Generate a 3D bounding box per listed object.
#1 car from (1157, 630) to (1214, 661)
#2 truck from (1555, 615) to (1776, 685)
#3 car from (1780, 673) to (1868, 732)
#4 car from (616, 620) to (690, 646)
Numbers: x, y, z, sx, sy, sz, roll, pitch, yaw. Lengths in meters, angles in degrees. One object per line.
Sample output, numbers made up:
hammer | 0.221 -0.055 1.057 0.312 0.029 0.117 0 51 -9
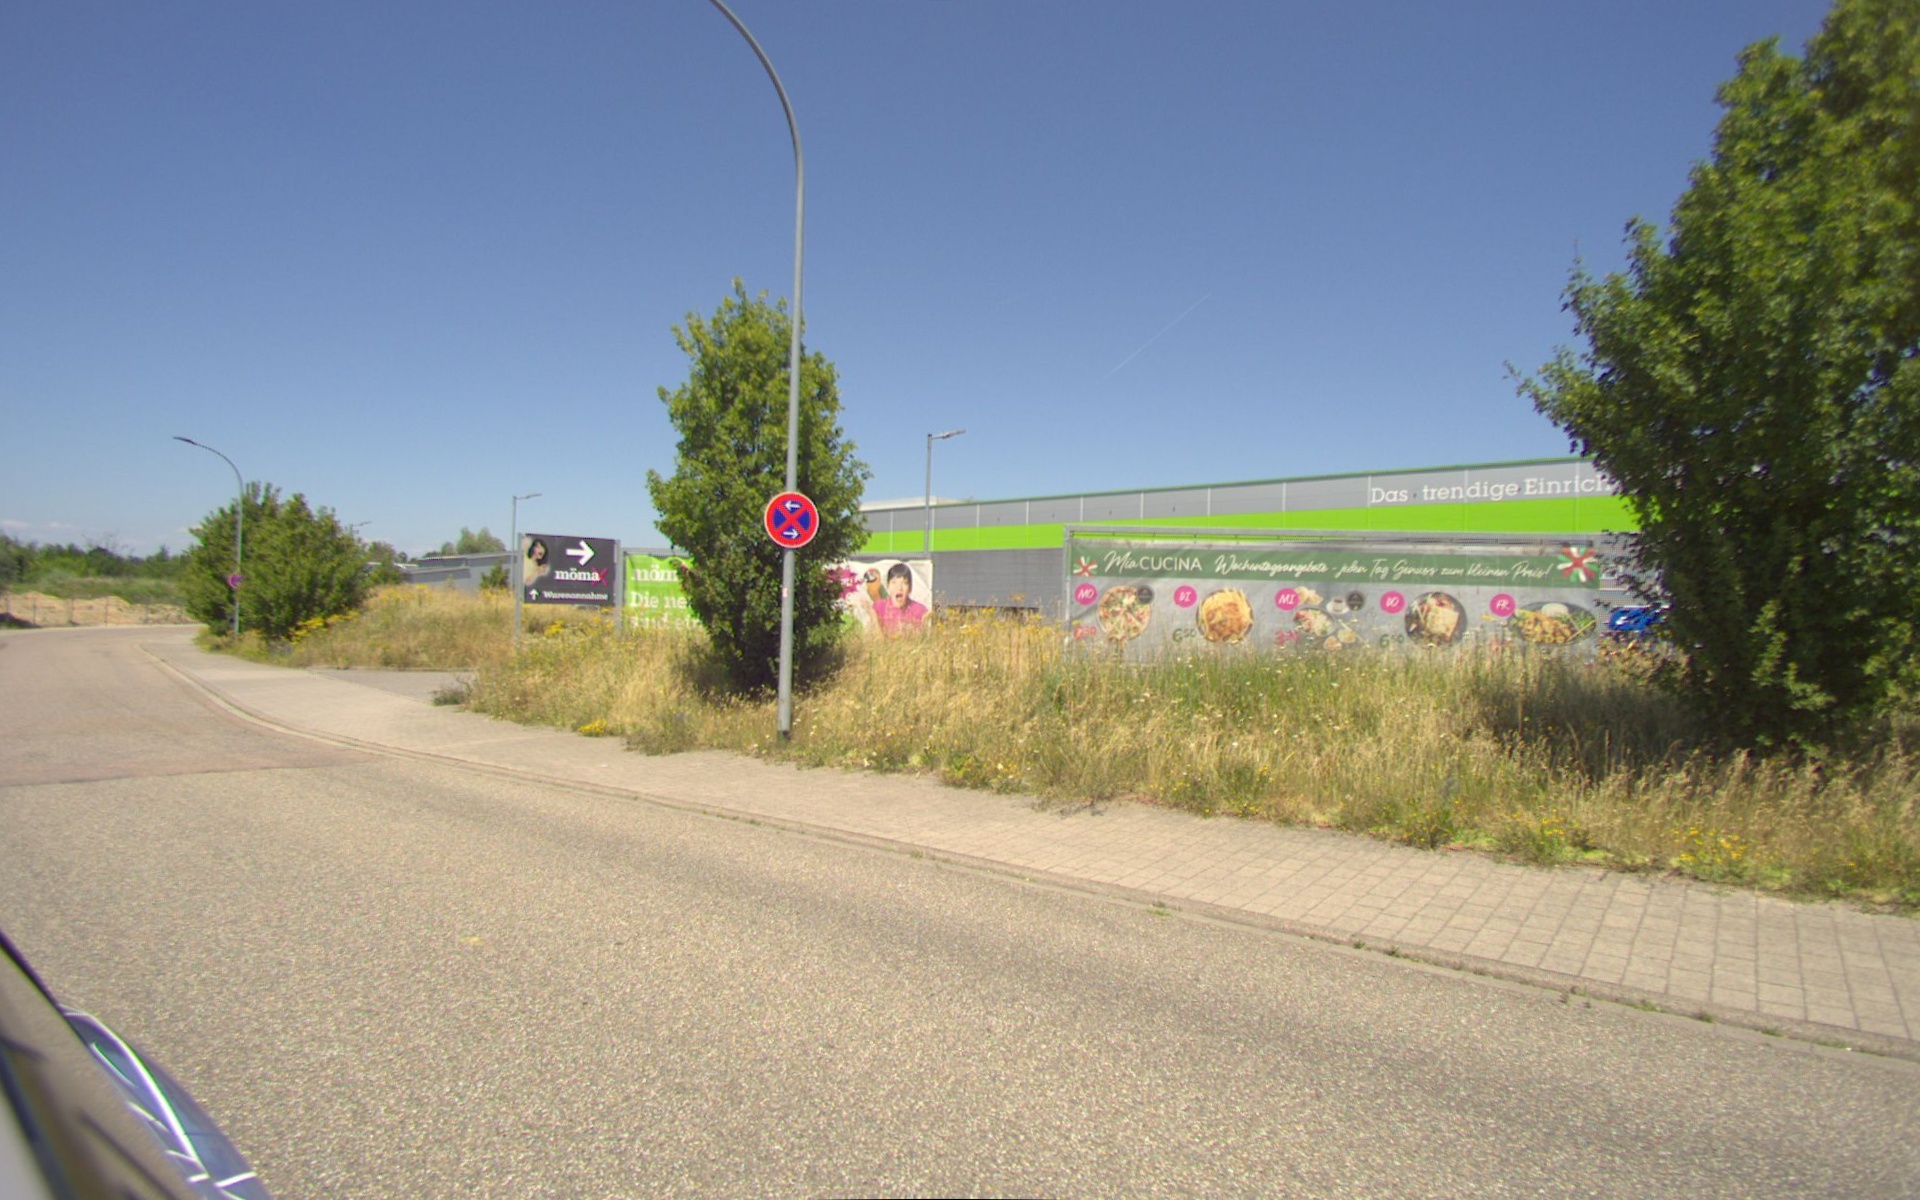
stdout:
car | 15.939 3.181 71.443 3.937 2.029 1.914 0 0 -41
truck | 28.807 1.980 41.449 7.648 2.704 2.969 0 -1 -13
car | 32.199 3.760 37.679 4.207 1.775 2.002 0 -1 -43
car | -20.340 2.160 67.049 4.288 1.556 1.876 -1 -1 -36
